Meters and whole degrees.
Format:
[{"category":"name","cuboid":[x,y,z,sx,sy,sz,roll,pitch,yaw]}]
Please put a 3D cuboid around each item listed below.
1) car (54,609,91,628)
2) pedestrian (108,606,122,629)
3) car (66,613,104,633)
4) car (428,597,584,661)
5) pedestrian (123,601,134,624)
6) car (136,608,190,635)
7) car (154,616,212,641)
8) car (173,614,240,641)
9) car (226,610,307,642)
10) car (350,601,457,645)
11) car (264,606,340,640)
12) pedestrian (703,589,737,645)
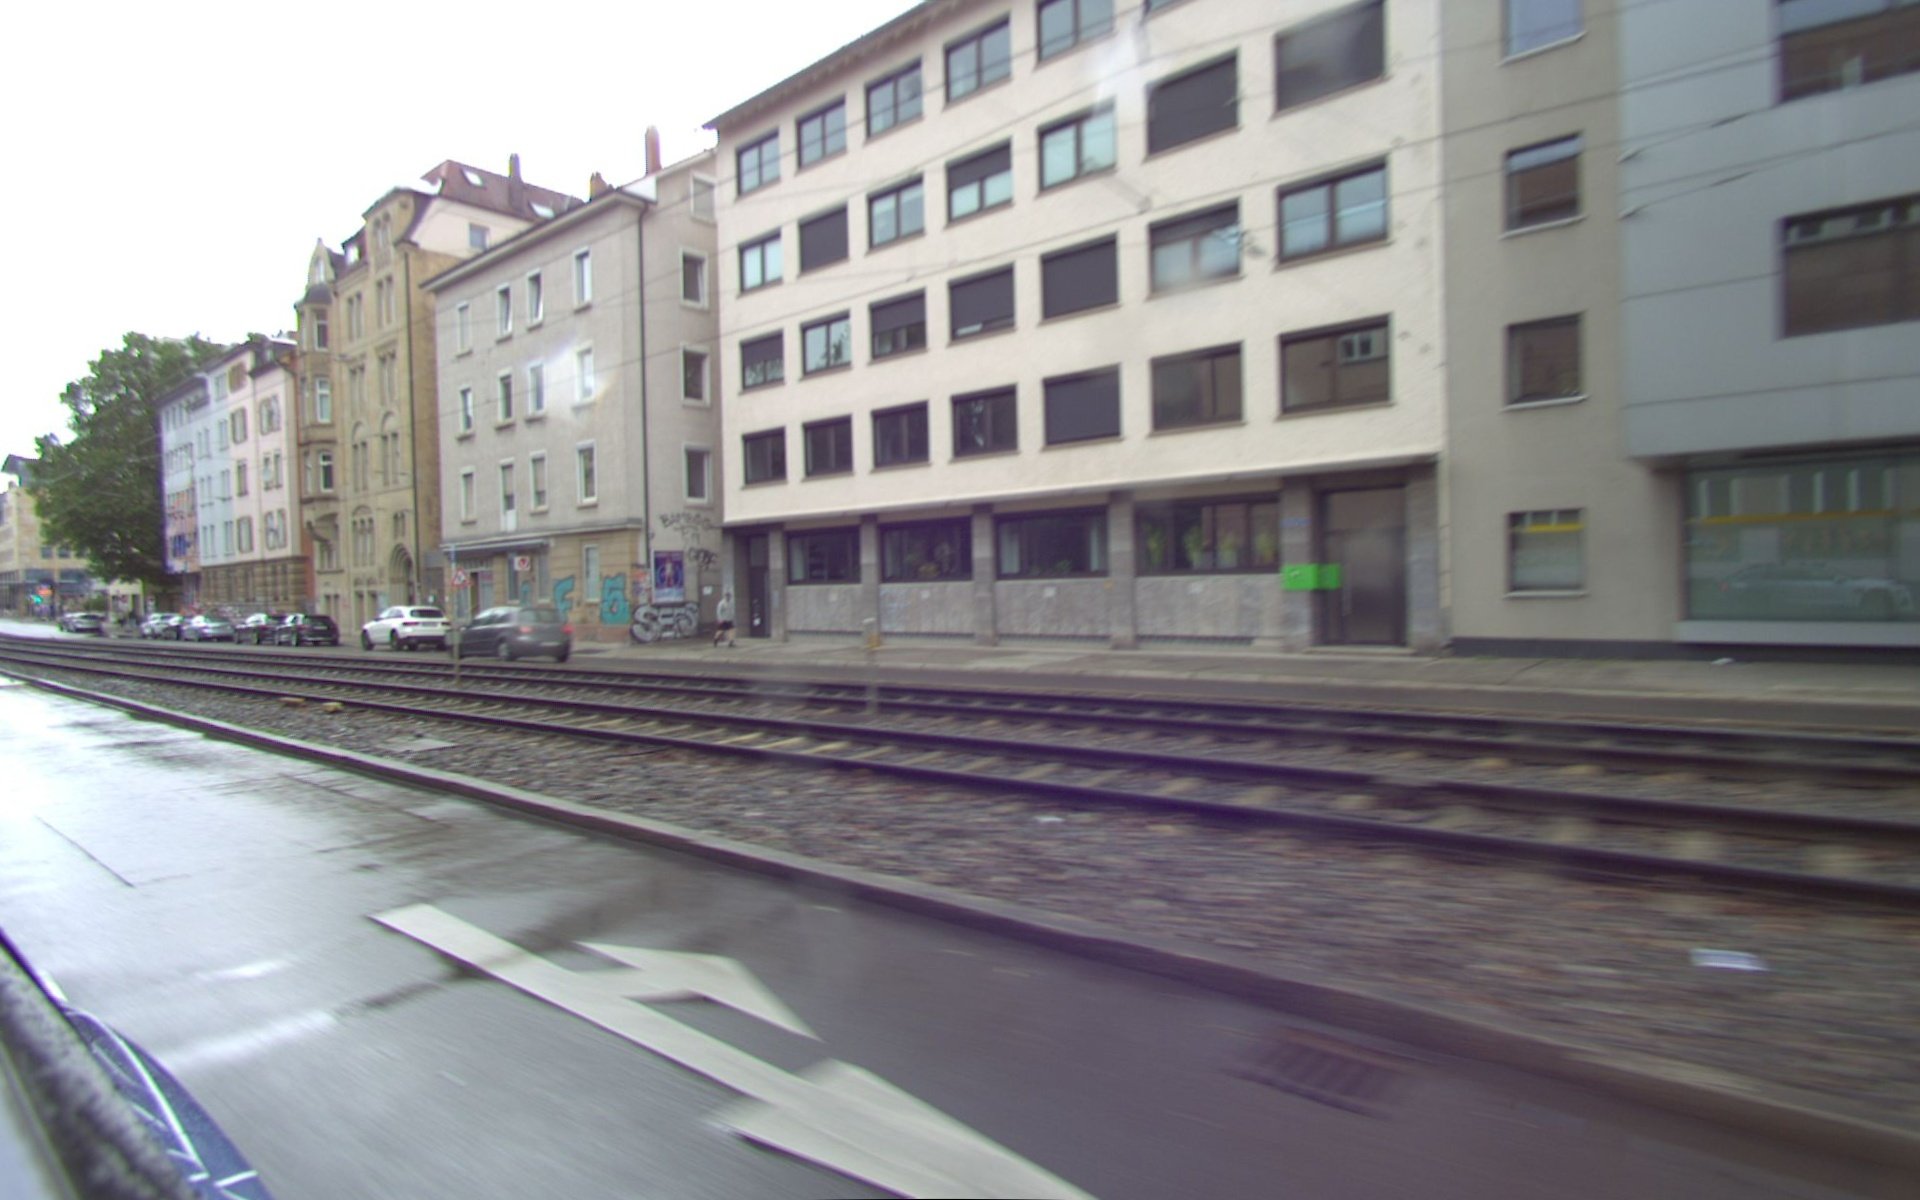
[{"category":"car","cuboid":[-74.972,1.564,85.449,4.226,1.553,1.819,-1,-2,42]},{"category":"pedestrian","cuboid":[-69.619,1.424,83.385,0.536,1.883,0.798,-2,-1,44]},{"category":"car","cuboid":[-71.354,1.853,82.499,4.226,1.553,1.819,-1,-2,42]},{"category":"car","cuboid":[-12.035,0.768,26.736,4.342,1.548,1.921,-1,-3,38]},{"category":"pedestrian","cuboid":[-68.962,1.026,83.952,0.536,1.883,0.642,-2,-1,44]},{"category":"car","cuboid":[-49.899,1.335,63.338,4.224,1.617,1.820,-1,-1,40]},{"category":"car","cuboid":[-45.783,1.663,59.609,4.262,1.408,1.820,-1,-1,40]},{"category":"car","cuboid":[-41.800,1.522,56.106,5.020,1.408,1.972,-1,-3,42]},{"category":"car","cuboid":[-33.611,1.245,49.000,5.018,1.467,1.973,-1,-3,40]},{"category":"car","cuboid":[-20.934,0.873,37.991,4.746,1.548,1.973,-1,-3,40]},{"category":"car","cuboid":[-29.632,1.054,45.546,4.167,1.467,1.718,-1,-3,40]},{"category":"pedestrian","cuboid":[-7.162,0.506,30.145,0.798,1.624,0.541,-1,3,43]}]
